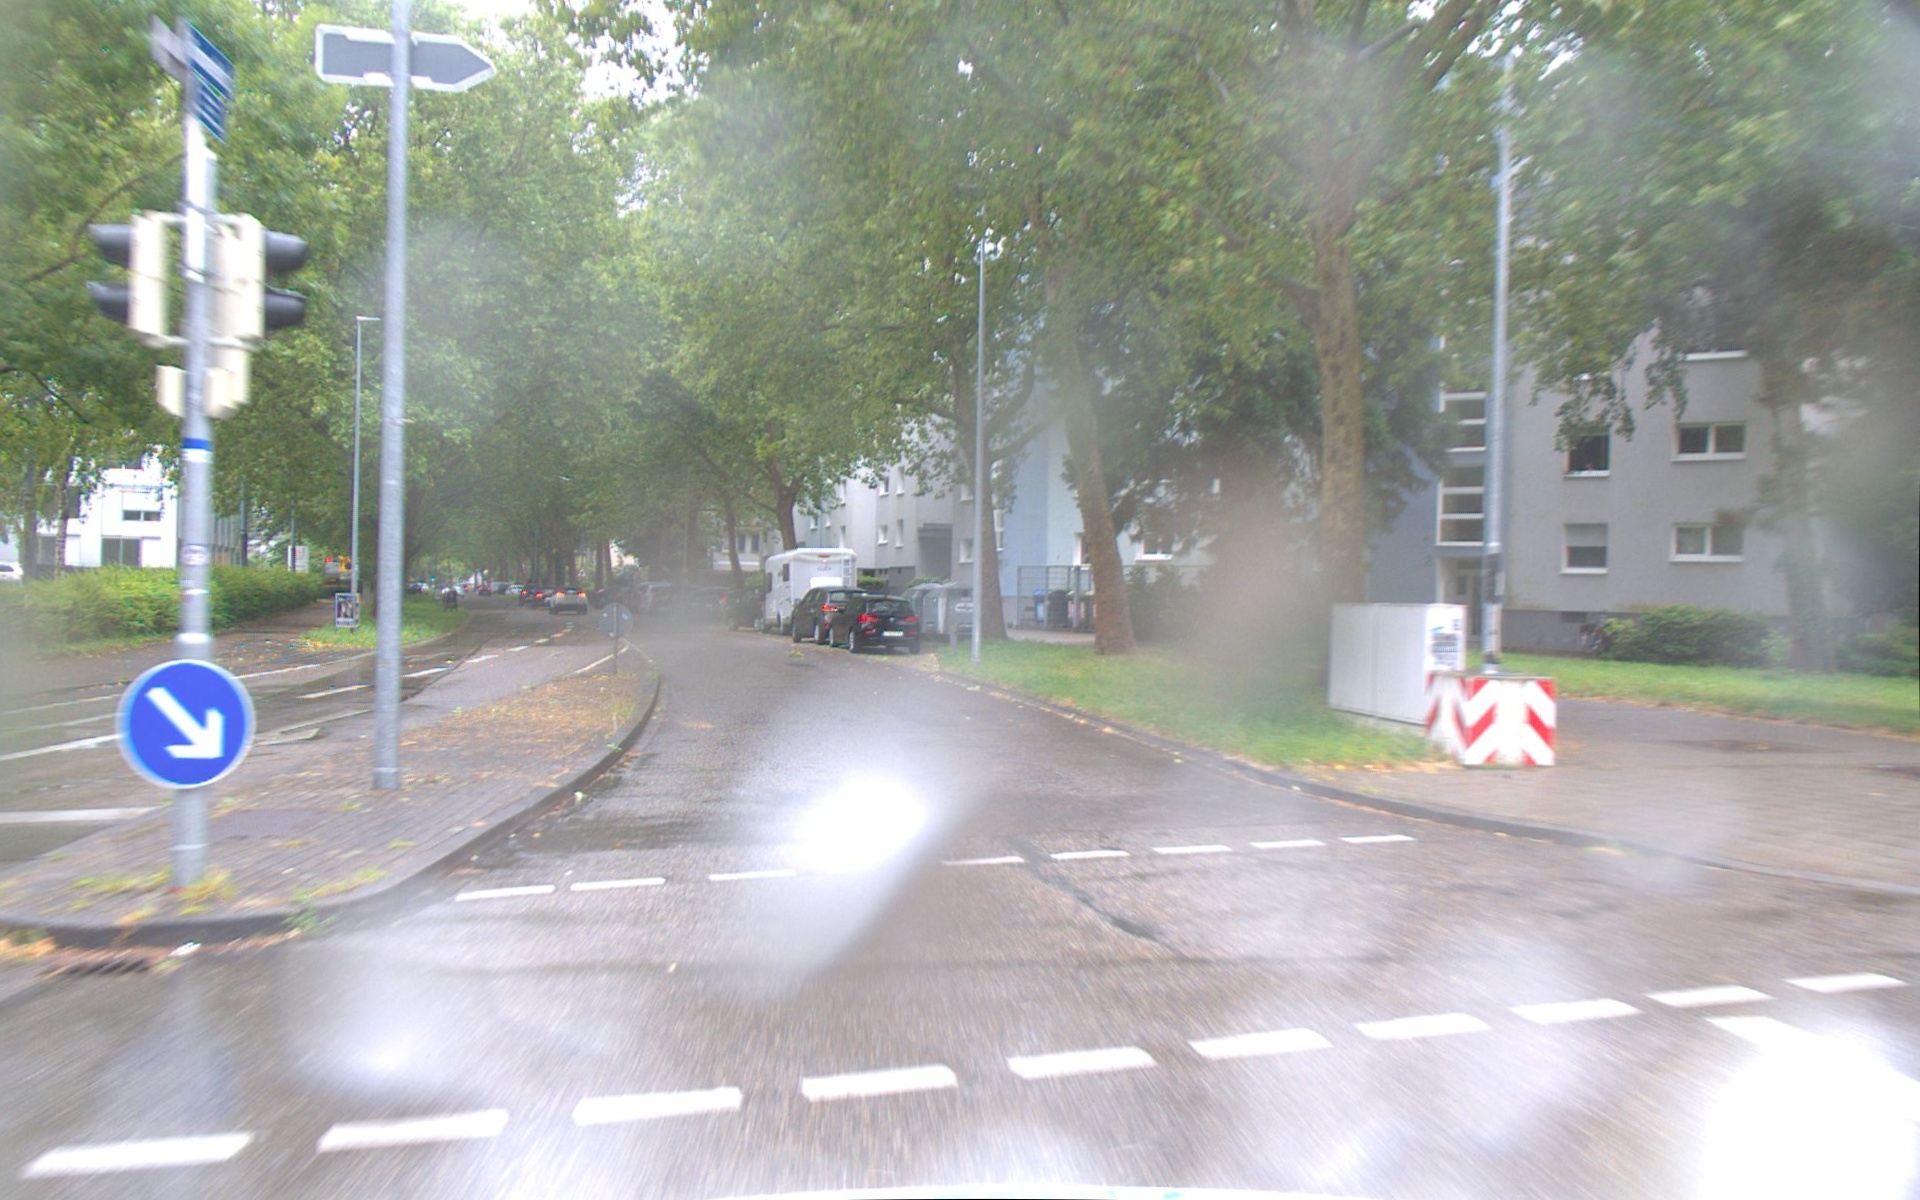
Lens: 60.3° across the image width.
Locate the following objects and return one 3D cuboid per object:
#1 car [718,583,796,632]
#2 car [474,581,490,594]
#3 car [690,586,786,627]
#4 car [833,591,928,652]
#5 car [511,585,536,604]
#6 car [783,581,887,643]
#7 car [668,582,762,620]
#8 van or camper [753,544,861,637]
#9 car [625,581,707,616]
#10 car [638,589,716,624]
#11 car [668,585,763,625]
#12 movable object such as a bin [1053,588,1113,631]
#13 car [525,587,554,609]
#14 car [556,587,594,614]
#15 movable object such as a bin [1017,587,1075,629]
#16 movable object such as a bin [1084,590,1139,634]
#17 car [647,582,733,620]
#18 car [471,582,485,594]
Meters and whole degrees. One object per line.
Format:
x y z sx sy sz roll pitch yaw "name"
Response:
-7.441 0.267 60.586 1.672 1.681 2.911 2 0 -34 "car"
-55.333 -1.502 191.419 1.680 1.436 3.626 -1 1 -18 "car"
-9.391 0.282 70.140 1.771 1.629 3.747 2 0 41 "car"
-2.090 0.525 42.497 1.523 1.414 4.132 2 0 -16 "car"
-34.098 -0.437 129.059 1.680 1.436 3.626 -1 1 -18 "car"
-3.663 0.368 47.612 1.887 1.649 4.428 2 -1 -19 "car"
-11.493 0.037 77.721 2.001 1.629 3.972 2 0 44 "car"
-5.219 -0.329 55.366 2.282 2.856 6.833 2 0 -16 "van or camper"
-16.565 -0.091 93.087 4.271 1.792 1.809 2 0 -19 "car"
-15.385 0.354 89.798 3.925 1.757 1.792 2 0 -18 "car"
-10.859 0.228 73.716 1.771 1.629 3.976 2 0 41 "car"
4.399 0.325 59.301 1.203 1.457 1.839 2 0 -36 "movable object such as a bin"
-28.429 -0.151 111.832 1.680 1.436 3.626 -1 1 -18 "car"
-21.190 0.008 90.930 1.680 1.436 3.626 -1 1 -18 "car"
3.159 0.274 60.729 1.203 1.457 1.839 2 0 -36 "movable object such as a bin"
5.312 0.408 57.951 1.306 1.457 1.353 2 0 -36 "movable object such as a bin"
-13.064 0.021 80.280 1.806 1.726 3.842 2 3 43 "car"
-63.457 -1.606 217.837 1.680 1.436 3.626 -1 1 -18 "car"
